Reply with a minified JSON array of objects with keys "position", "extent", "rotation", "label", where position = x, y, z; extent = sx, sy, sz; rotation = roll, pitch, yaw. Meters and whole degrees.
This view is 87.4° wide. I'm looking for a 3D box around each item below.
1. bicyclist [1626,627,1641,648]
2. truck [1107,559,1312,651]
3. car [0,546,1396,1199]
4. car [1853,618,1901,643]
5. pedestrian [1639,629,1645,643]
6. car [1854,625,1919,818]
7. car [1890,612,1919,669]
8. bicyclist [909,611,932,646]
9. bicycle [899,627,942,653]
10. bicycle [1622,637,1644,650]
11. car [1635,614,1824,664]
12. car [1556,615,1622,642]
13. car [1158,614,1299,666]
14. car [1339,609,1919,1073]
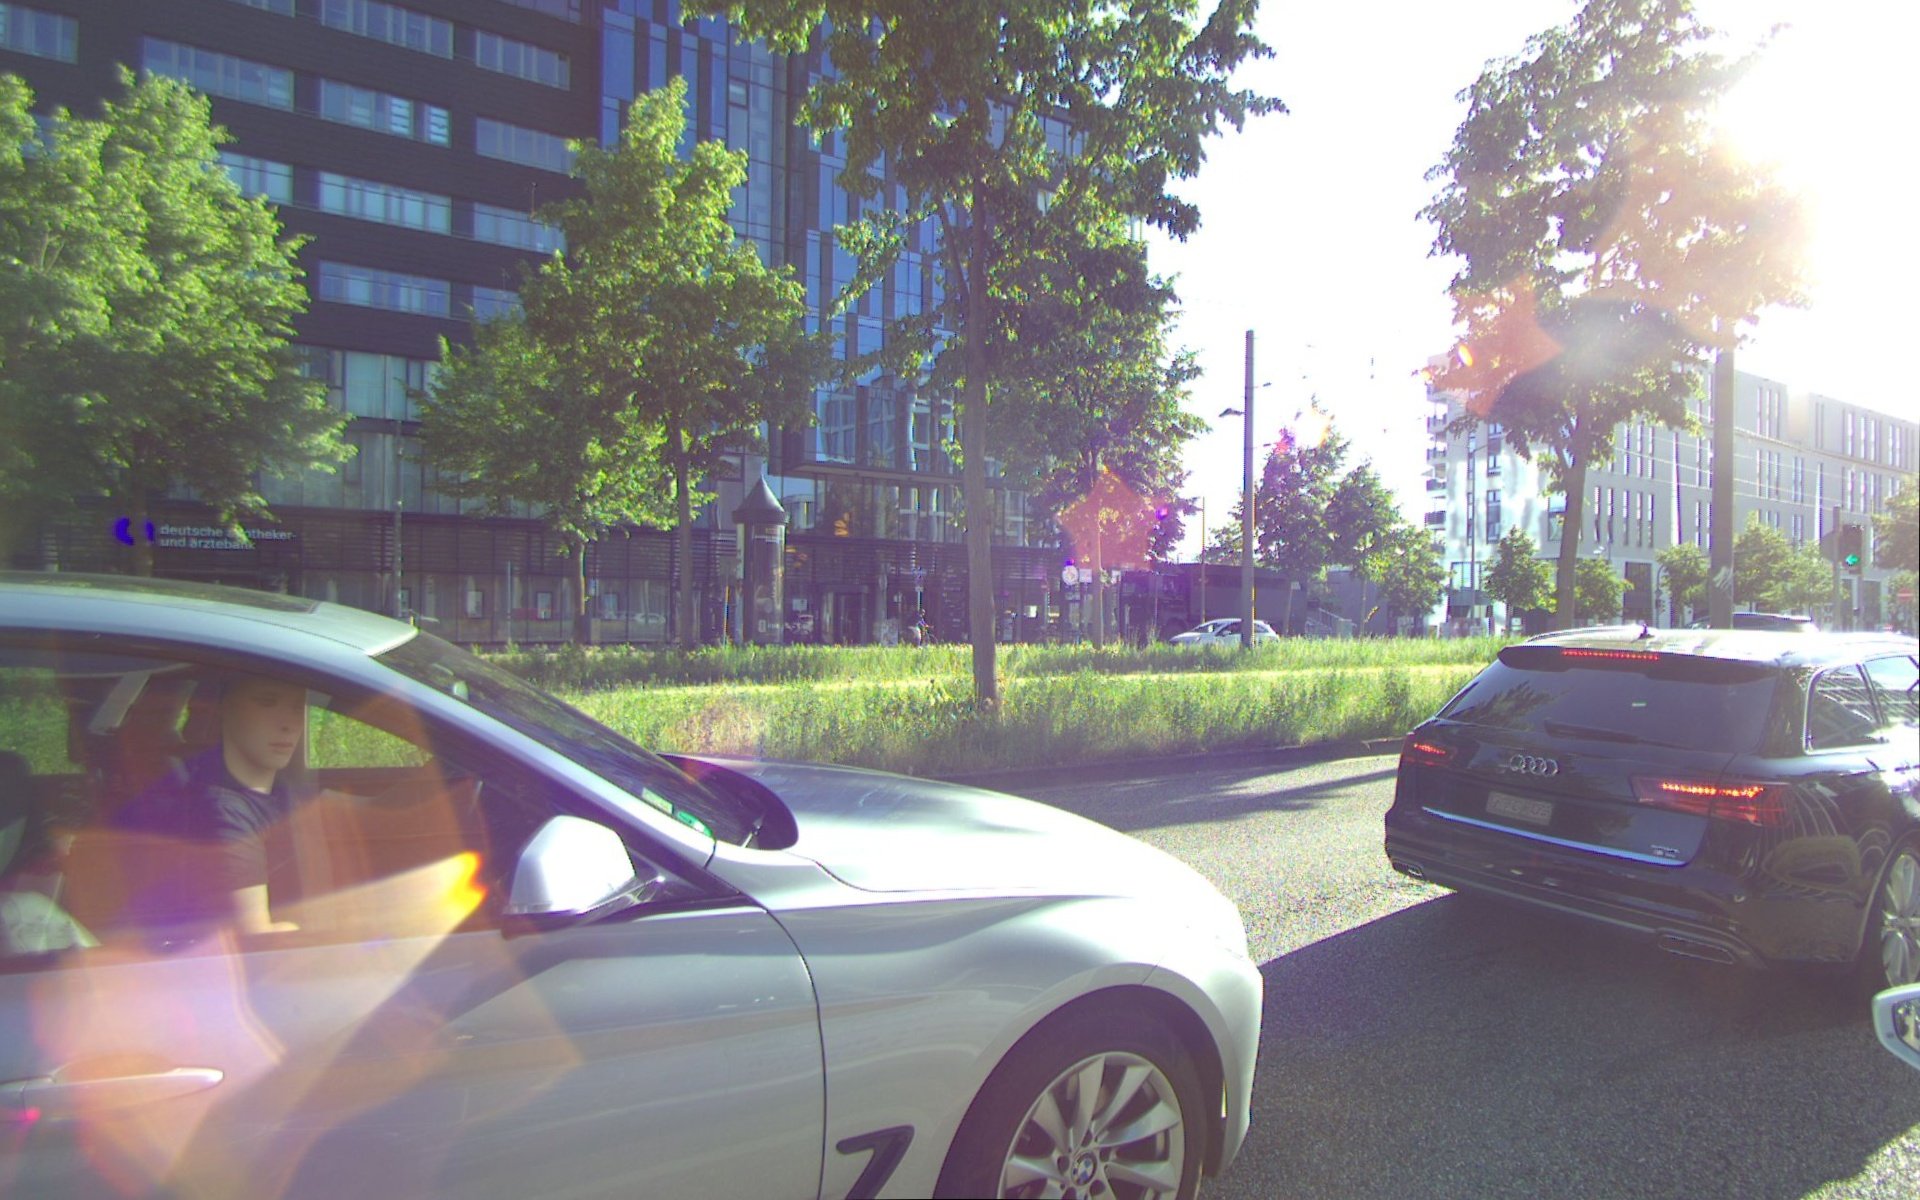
[{"position":[50.993,2.833,76.053],"extent":[0.706,1.549,0.674],"rotation":[1,-1,-30],"label":"bicyclist"},{"position":[11.692,0.311,46.491],"extent":[10.094,3.904,2.877],"rotation":[1,-1,-31],"label":"truck"},{"position":[-1.338,0.701,2.024],"extent":[4.509,1.504,1.810],"rotation":[1,-1,-31],"label":"car"},{"position":[78.091,2.595,85.522],"extent":[3.953,2.040,1.984],"rotation":[1,-1,-30],"label":"car"},{"position":[55.199,2.899,81.285],"extent":[0.286,1.100,0.252],"rotation":[1,0,-30],"label":"pedestrian"},{"position":[9.323,0.957,8.185],"extent":[4.288,1.445,1.833],"rotation":[1,-1,-30],"label":"car"},{"position":[25.374,1.045,25.256],"extent":[1.772,1.467,4.562],"rotation":[0,-1,28],"label":"car"},{"position":[-1.628,1.200,41.808],"extent":[0.811,1.443,0.475],"rotation":[1,-1,-30],"label":"bicyclist"},{"position":[-1.635,1.660,41.800],"extent":[1.735,1.049,0.475],"rotation":[1,-1,-31],"label":"bicycle"},{"position":[50.929,3.295,76.011],"extent":[1.933,1.001,0.673],"rotation":[1,-1,-31],"label":"bicycle"},{"position":[24.742,1.206,32.497],"extent":[1.781,1.467,4.538],"rotation":[1,-1,-26],"label":"car"},{"position":[37.526,1.693,59.899],"extent":[3.953,1.540,1.756],"rotation":[1,-1,-30],"label":"car"},{"position":[8.902,1.305,33.218],"extent":[4.513,1.503,1.791],"rotation":[1,2,-30],"label":"car"},{"position":[4.413,0.839,5.367],"extent":[4.911,1.504,1.864],"rotation":[1,-1,-32],"label":"car"}]
